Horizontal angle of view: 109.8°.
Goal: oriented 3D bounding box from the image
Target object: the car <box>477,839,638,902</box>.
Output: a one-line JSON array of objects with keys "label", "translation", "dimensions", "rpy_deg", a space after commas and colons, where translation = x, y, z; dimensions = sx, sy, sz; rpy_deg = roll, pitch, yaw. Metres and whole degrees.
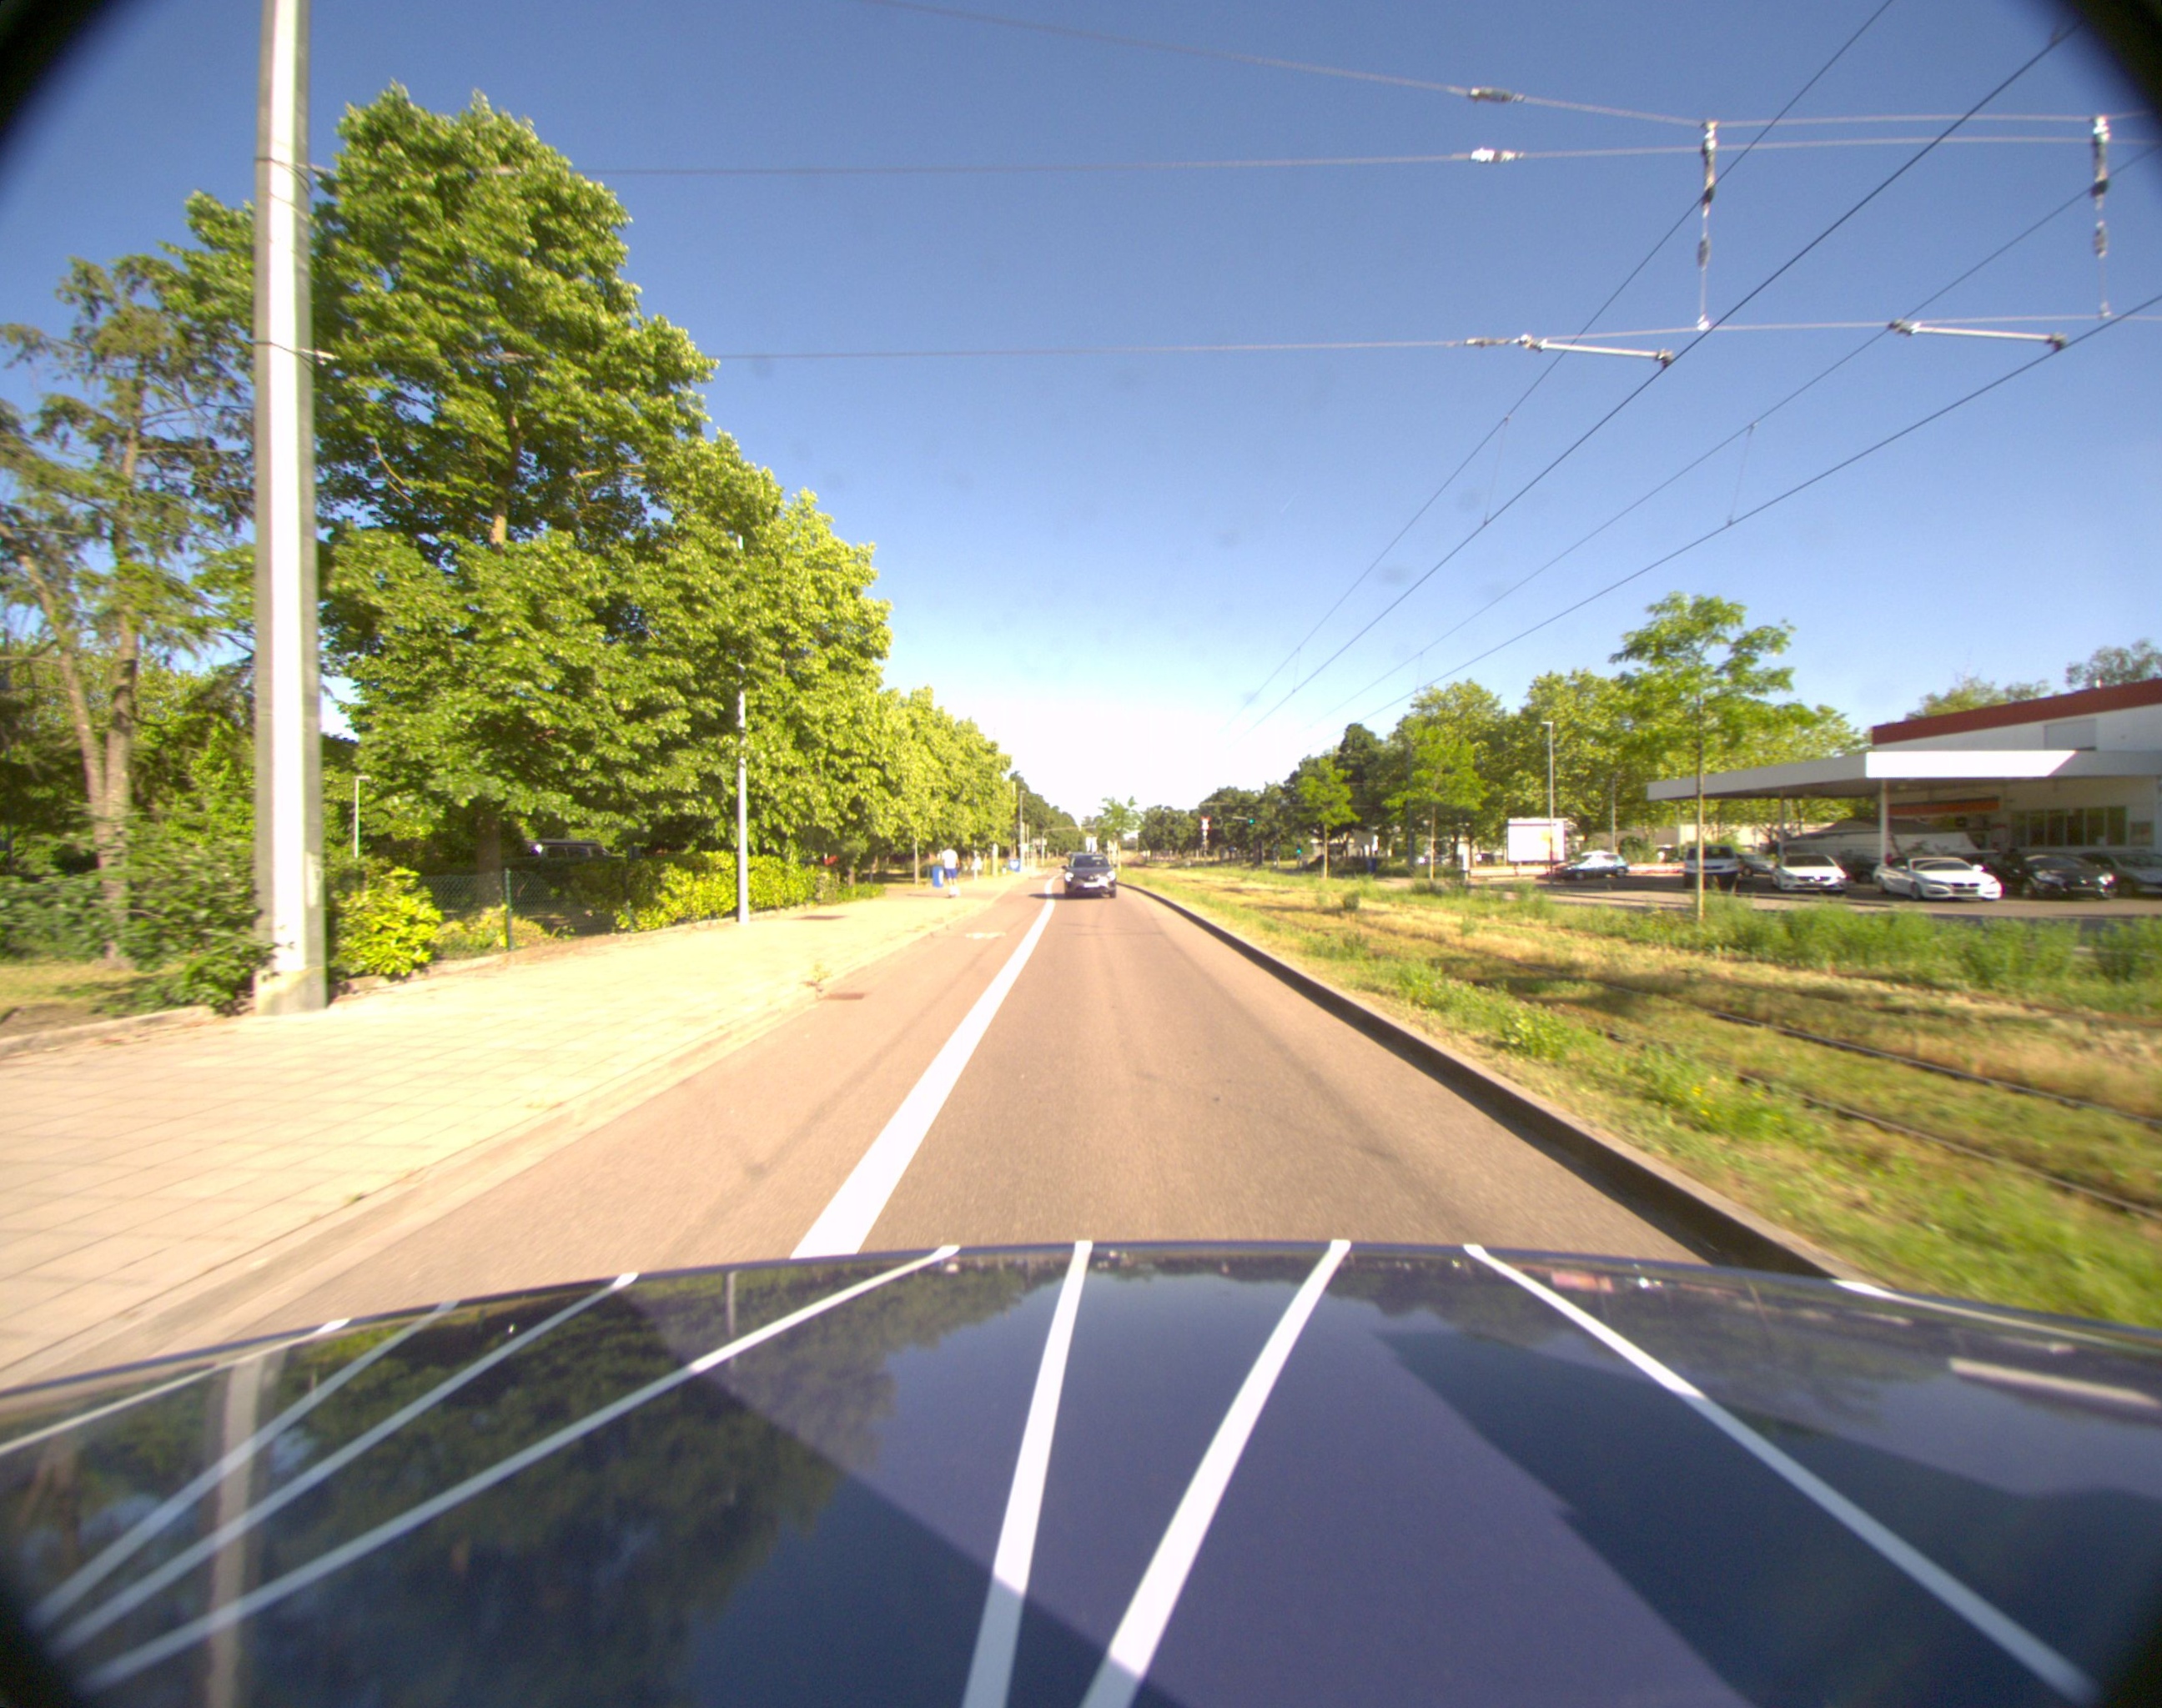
[{"label": "car", "translation": [-17.481, 0.480, 25.736], "dimensions": [1.877, 1.927, 4.959], "rpy_deg": [0, 1, 2]}]

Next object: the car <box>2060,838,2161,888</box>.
[{"label": "car", "translation": [35.147, 0.253, 25.375], "dimensions": [2.021, 1.542, 4.310], "rpy_deg": [1, 1, 38]}]

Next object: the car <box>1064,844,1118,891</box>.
[{"label": "car", "translation": [0.340, 0.461, 29.006], "dimensions": [1.867, 1.614, 3.999], "rpy_deg": [-2, 1, -1]}]

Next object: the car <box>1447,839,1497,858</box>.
[{"label": "car", "translation": [40.109, -0.587, 77.985], "dimensions": [4.051, 1.816, 1.999], "rpy_deg": [-2, 1, -2]}]

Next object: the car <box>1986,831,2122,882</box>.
[{"label": "car", "translation": [32.000, 0.030, 25.143], "dimensions": [1.845, 1.500, 3.998], "rpy_deg": [1, 2, 38]}]

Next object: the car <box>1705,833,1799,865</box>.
[{"label": "car", "translation": [40.714, -0.304, 46.252], "dimensions": [1.998, 1.809, 4.529], "rpy_deg": [0, 1, 5]}]

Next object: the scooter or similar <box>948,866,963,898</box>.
[{"label": "scooter or similar", "translation": [-4.594, 1.022, 27.828], "dimensions": [0.349, 1.130, 1.208], "rpy_deg": [0, 1, -1]}]

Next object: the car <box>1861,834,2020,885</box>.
[{"label": "car", "translation": [29.100, 0.104, 25.960], "dimensions": [2.022, 1.500, 4.897], "rpy_deg": [0, 2, 29]}]

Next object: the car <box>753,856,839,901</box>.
[{"label": "car", "translation": [-9.515, 0.773, 25.675], "dimensions": [1.466, 1.354, 4.052], "rpy_deg": [0, 1, -2]}]

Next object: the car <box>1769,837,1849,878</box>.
[{"label": "car", "translation": [28.502, 0.099, 29.869], "dimensions": [1.712, 1.417, 4.465], "rpy_deg": [-1, 1, 37]}]

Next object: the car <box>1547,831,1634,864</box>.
[{"label": "car", "translation": [31.661, -0.373, 47.289], "dimensions": [3.996, 1.846, 2.000], "rpy_deg": [-2, 0, 3]}]

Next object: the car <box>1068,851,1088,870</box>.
[{"label": "car", "translation": [-0.288, 0.717, 81.824], "dimensions": [1.998, 1.824, 3.999], "rpy_deg": [-2, 1, 2]}]

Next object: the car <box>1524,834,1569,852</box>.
[{"label": "car", "translation": [54.791, -1.314, 89.460], "dimensions": [4.051, 1.920, 1.999], "rpy_deg": [-2, 1, -2]}]

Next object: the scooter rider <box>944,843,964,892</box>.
[{"label": "scooter rider", "translation": [-4.649, 0.479, 27.799], "dimensions": [0.552, 1.757, 0.599], "rpy_deg": [-2, 1, -1]}]

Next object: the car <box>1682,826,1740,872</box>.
[{"label": "car", "translation": [28.493, -0.214, 34.322], "dimensions": [1.893, 1.899, 4.820], "rpy_deg": [-1, 0, 41]}]
